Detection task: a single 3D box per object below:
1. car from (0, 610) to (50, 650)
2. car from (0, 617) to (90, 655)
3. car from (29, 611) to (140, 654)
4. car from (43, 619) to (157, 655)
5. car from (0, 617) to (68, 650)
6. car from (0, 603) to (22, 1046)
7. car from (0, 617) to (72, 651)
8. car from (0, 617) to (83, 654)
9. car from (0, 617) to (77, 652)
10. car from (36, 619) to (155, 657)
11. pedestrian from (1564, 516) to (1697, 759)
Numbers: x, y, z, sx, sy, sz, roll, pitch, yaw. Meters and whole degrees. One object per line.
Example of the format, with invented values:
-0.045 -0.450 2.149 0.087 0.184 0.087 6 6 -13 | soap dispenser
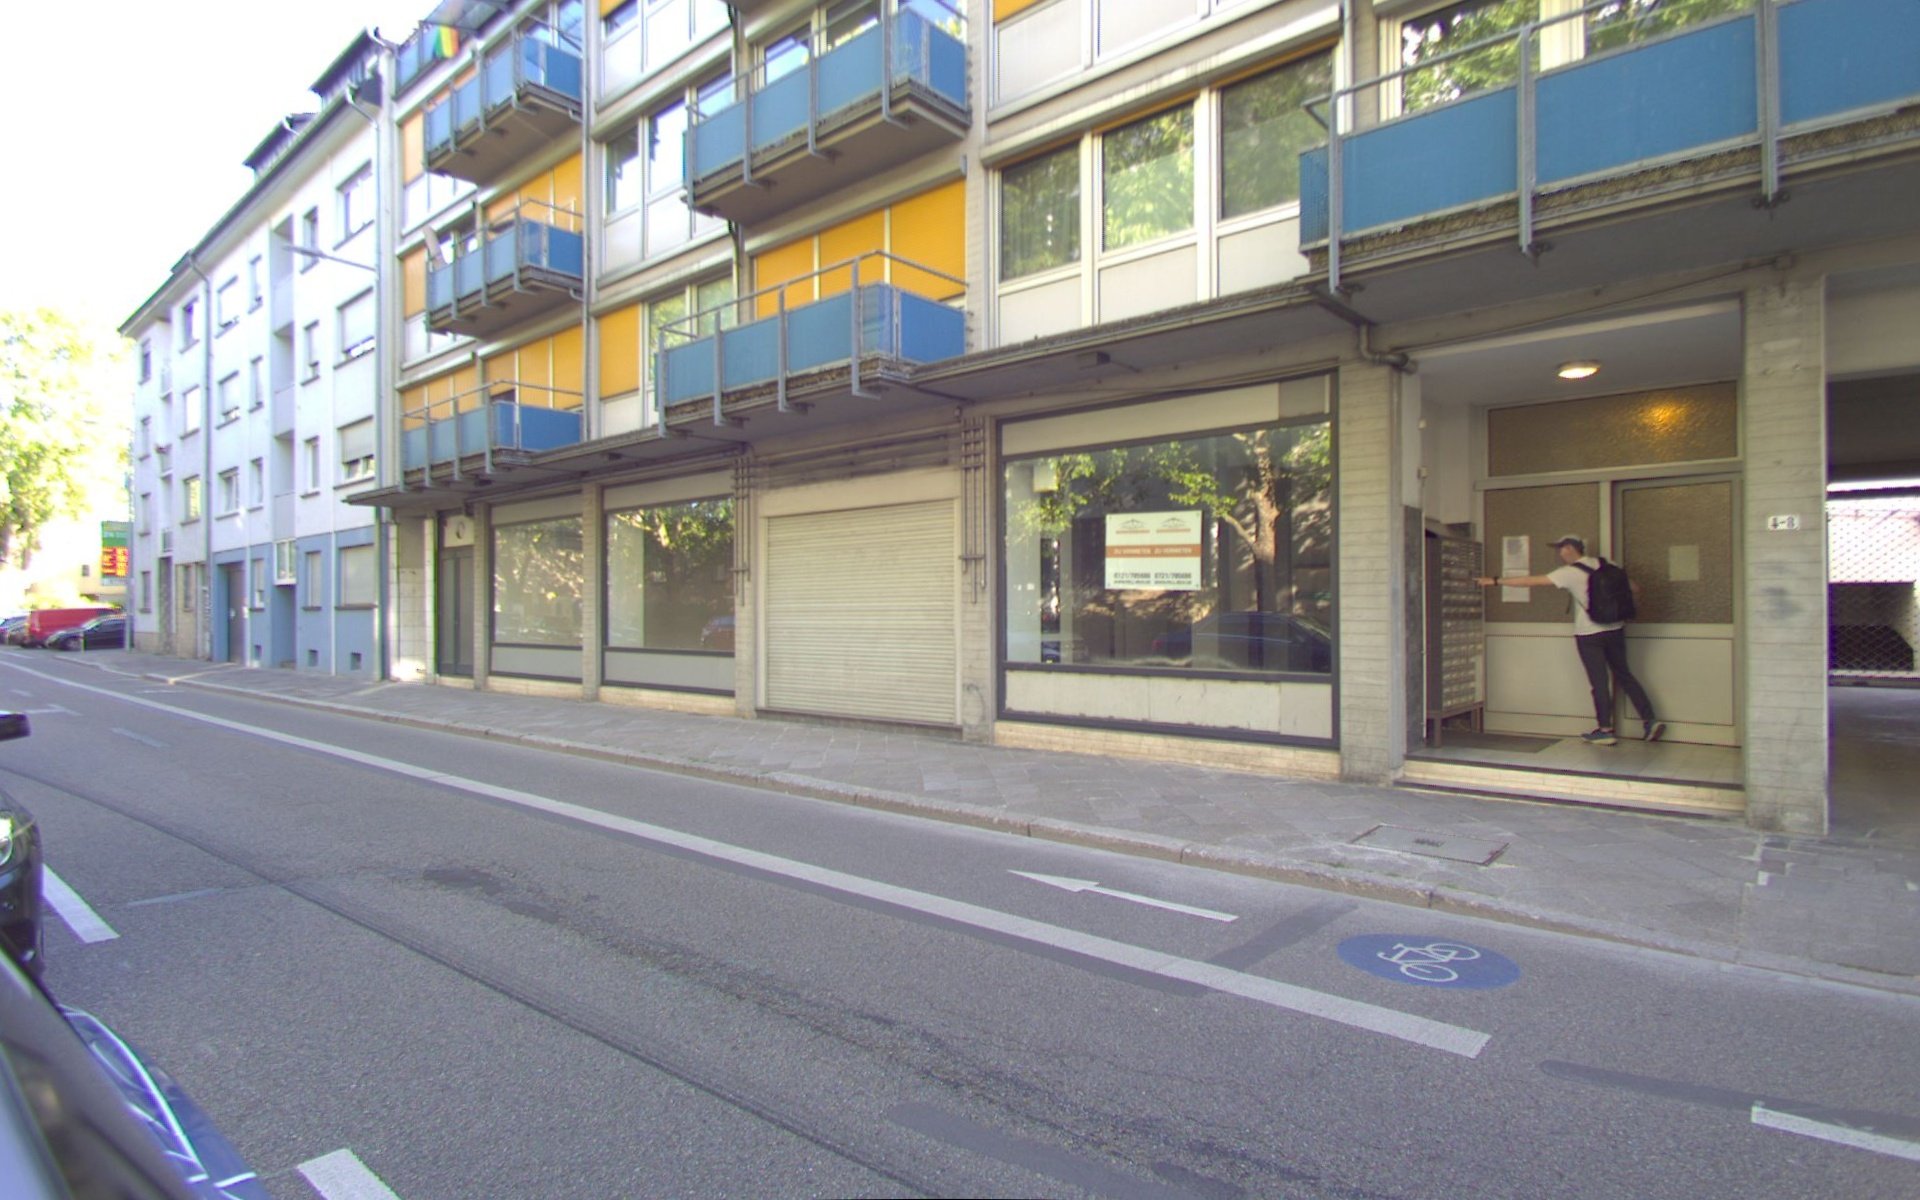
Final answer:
-62.808 1.954 66.794 2.000 2.538 3.944 -1 0 42 | car
-51.579 2.008 56.838 2.000 1.962 3.944 -1 0 42 | car
-43.439 1.570 50.260 2.000 1.962 3.944 -1 0 42 | car
-41.184 1.740 48.535 2.000 1.564 3.944 -1 0 42 | car
-59.216 2.106 64.025 2.000 1.962 3.944 -1 0 42 | car
-5.533 0.807 4.286 4.479 1.512 1.842 -1 -1 41 | car
-57.416 2.083 62.291 2.000 1.962 3.944 -1 0 42 | car
-53.530 2.033 58.621 2.000 1.962 3.944 -1 0 42 | car
-55.611 2.060 60.574 2.000 1.962 3.944 -1 0 42 | car
-39.766 1.722 46.613 2.000 1.564 3.944 -1 0 42 | car
5.536 0.290 8.360 0.573 1.894 0.787 -1 0 -43 | pedestrian
